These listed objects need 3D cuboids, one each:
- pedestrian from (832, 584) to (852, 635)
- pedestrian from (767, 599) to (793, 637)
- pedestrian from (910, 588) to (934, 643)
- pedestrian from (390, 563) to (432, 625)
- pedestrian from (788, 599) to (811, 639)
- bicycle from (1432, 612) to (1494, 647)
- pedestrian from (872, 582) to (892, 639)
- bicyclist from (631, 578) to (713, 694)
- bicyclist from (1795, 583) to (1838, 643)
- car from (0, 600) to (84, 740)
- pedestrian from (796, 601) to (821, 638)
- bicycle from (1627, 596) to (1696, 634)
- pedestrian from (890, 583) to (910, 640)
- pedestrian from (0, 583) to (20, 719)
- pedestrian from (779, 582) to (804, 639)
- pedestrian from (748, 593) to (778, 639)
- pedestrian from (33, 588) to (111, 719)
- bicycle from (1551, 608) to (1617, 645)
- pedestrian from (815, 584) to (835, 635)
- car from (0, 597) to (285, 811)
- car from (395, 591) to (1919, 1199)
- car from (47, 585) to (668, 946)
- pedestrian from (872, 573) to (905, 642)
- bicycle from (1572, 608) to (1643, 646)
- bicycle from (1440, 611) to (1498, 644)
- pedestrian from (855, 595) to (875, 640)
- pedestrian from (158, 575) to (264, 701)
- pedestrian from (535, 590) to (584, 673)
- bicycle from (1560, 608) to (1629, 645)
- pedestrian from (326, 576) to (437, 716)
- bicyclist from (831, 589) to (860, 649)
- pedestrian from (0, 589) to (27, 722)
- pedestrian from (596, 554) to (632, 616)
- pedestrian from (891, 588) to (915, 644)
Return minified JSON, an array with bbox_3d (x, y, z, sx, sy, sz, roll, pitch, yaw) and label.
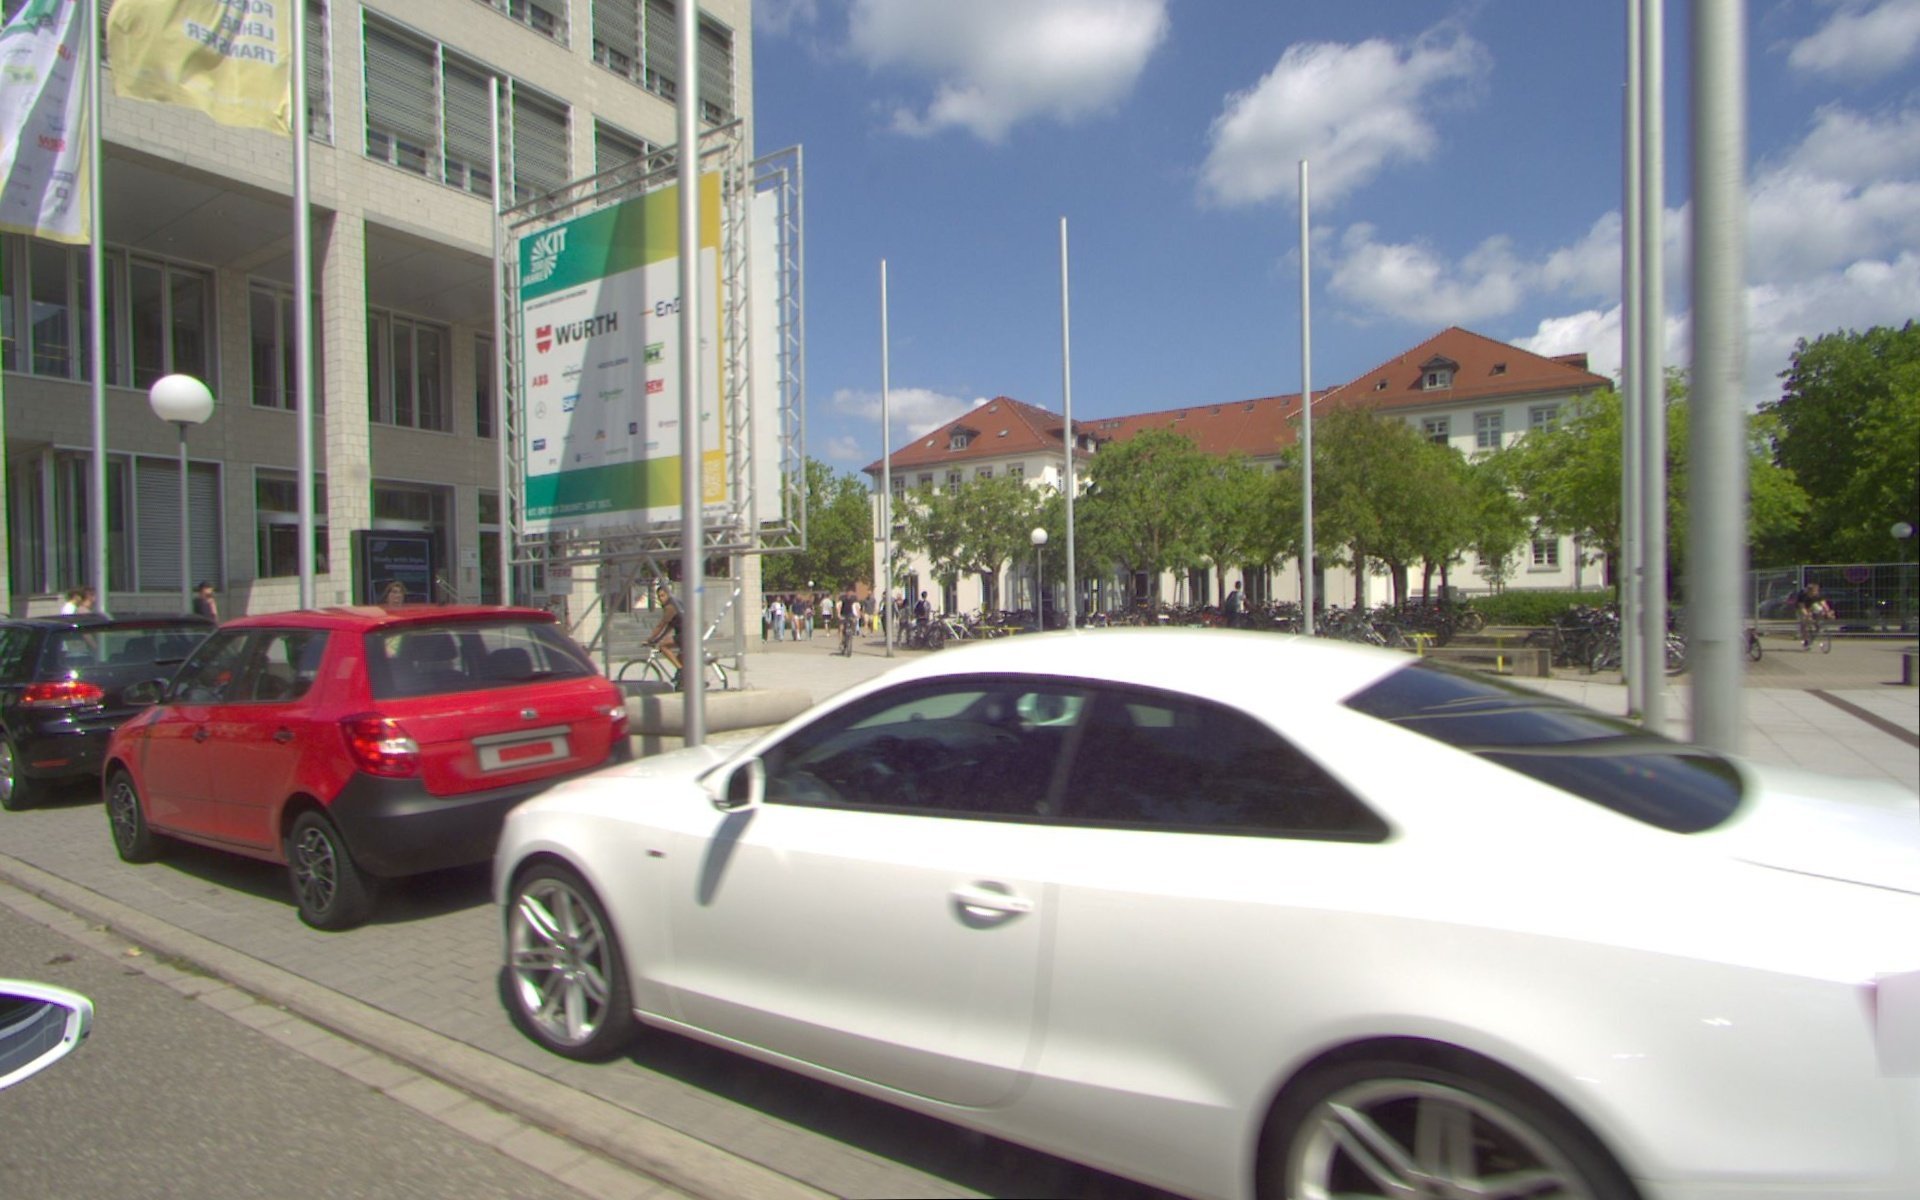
[{"bbox_3d":[-5.338,0.451,45.423,0.702,2.258,0.634,-2,-1,5],"label":"pedestrian"},{"bbox_3d":[-7.023,0.696,39.066,0.708,1.449,0.629,-2,-1,-38],"label":"pedestrian"},{"bbox_3d":[-1.252,0.505,32.873,0.622,1.769,0.716,-2,-1,-11],"label":"pedestrian"},{"bbox_3d":[-14.576,-0.156,26.586,0.707,1.605,0.715,-3,-1,36],"label":"pedestrian"},{"bbox_3d":[-6.264,0.752,39.090,0.626,1.517,0.712,-2,-1,-34],"label":"pedestrian"},{"bbox_3d":[16.930,0.998,33.718,1.733,1.113,0.604,-2,-1,3],"label":"bicycle"},{"bbox_3d":[-3.171,0.436,40.831,0.622,2.258,0.716,-2,-1,3],"label":"pedestrian"},{"bbox_3d":[-4.098,0.501,14.249,0.920,1.585,0.659,0,1,32],"label":"bicyclist"},{"bbox_3d":[19.412,0.279,22.699,0.599,1.338,0.739,1,1,30],"label":"bicyclist"},{"bbox_3d":[-12.768,0.837,12.253,4.499,1.550,1.716,-1,1,31],"label":"car"},{"bbox_3d":[-6.030,0.768,39.840,0.704,1.455,0.633,-3,-1,20],"label":"pedestrian"},{"bbox_3d":[22.459,0.484,32.073,1.733,1.113,0.604,-2,-1,3],"label":"bicycle"},{"bbox_3d":[-2.423,0.457,40.578,0.622,2.258,0.716,-2,-1,3],"label":"pedestrian"},{"bbox_3d":[-14.146,0.733,14.417,0.776,1.951,0.589,-1,0,-35],"label":"pedestrian"},{"bbox_3d":[-6.755,0.434,40.205,0.708,2.258,0.629,-2,-1,-38],"label":"pedestrian"},{"bbox_3d":[-7.571,0.613,38.450,0.861,1.724,0.629,-2,-1,-38],"label":"pedestrian"},{"bbox_3d":[-13.735,0.808,15.493,0.741,1.951,0.722,-1,0,33],"label":"pedestrian"},{"bbox_3d":[20.381,0.874,32.720,1.733,1.113,0.604,-2,-1,3],"label":"bicycle"},{"bbox_3d":[-6.146,0.441,45.599,0.702,2.258,0.634,-2,-1,3],"label":"pedestrian"},{"bbox_3d":[-7.984,0.791,9.095,3.945,1.549,1.714,-1,0,34],"label":"car"},{"bbox_3d":[0.216,0.759,3.229,4.377,1.419,1.713,-1,2,34],"label":"car"},{"bbox_3d":[-3.802,0.727,6.095,4.089,1.517,1.609,-1,2,34],"label":"car"},{"bbox_3d":[-2.401,0.244,33.637,0.844,2.258,0.630,-2,-1,-38],"label":"pedestrian"},{"bbox_3d":[20.225,0.844,31.297,1.733,1.113,0.604,-2,-1,3],"label":"bicycle"},{"bbox_3d":[18.495,1.001,36.422,1.733,1.113,0.604,-2,-1,3],"label":"bicycle"},{"bbox_3d":[-3.850,0.725,40.681,0.622,1.800,0.716,-2,-1,3],"label":"pedestrian"},{"bbox_3d":[-12.144,0.604,16.244,1.007,1.945,1.092,-1,0,34],"label":"pedestrian"},{"bbox_3d":[-8.187,0.637,20.491,0.724,1.661,0.691,-1,0,-5],"label":"pedestrian"},{"bbox_3d":[20.271,0.847,32.018,1.733,1.113,0.604,-2,-1,3],"label":"bicycle"},{"bbox_3d":[-7.658,0.593,13.264,0.988,1.763,0.915,-1,0,33],"label":"pedestrian"},{"bbox_3d":[-3.070,0.499,26.826,0.670,1.590,0.878,0,1,-13],"label":"bicyclist"},{"bbox_3d":[-14.512,0.825,14.917,0.774,1.951,0.730,-1,0,-34],"label":"pedestrian"},{"bbox_3d":[-10.593,-0.446,30.669,0.707,1.821,0.715,-3,-1,36],"label":"pedestrian"},{"bbox_3d":[-1.861,0.530,32.803,0.622,1.769,0.716,-2,-1,-11],"label":"pedestrian"}]
